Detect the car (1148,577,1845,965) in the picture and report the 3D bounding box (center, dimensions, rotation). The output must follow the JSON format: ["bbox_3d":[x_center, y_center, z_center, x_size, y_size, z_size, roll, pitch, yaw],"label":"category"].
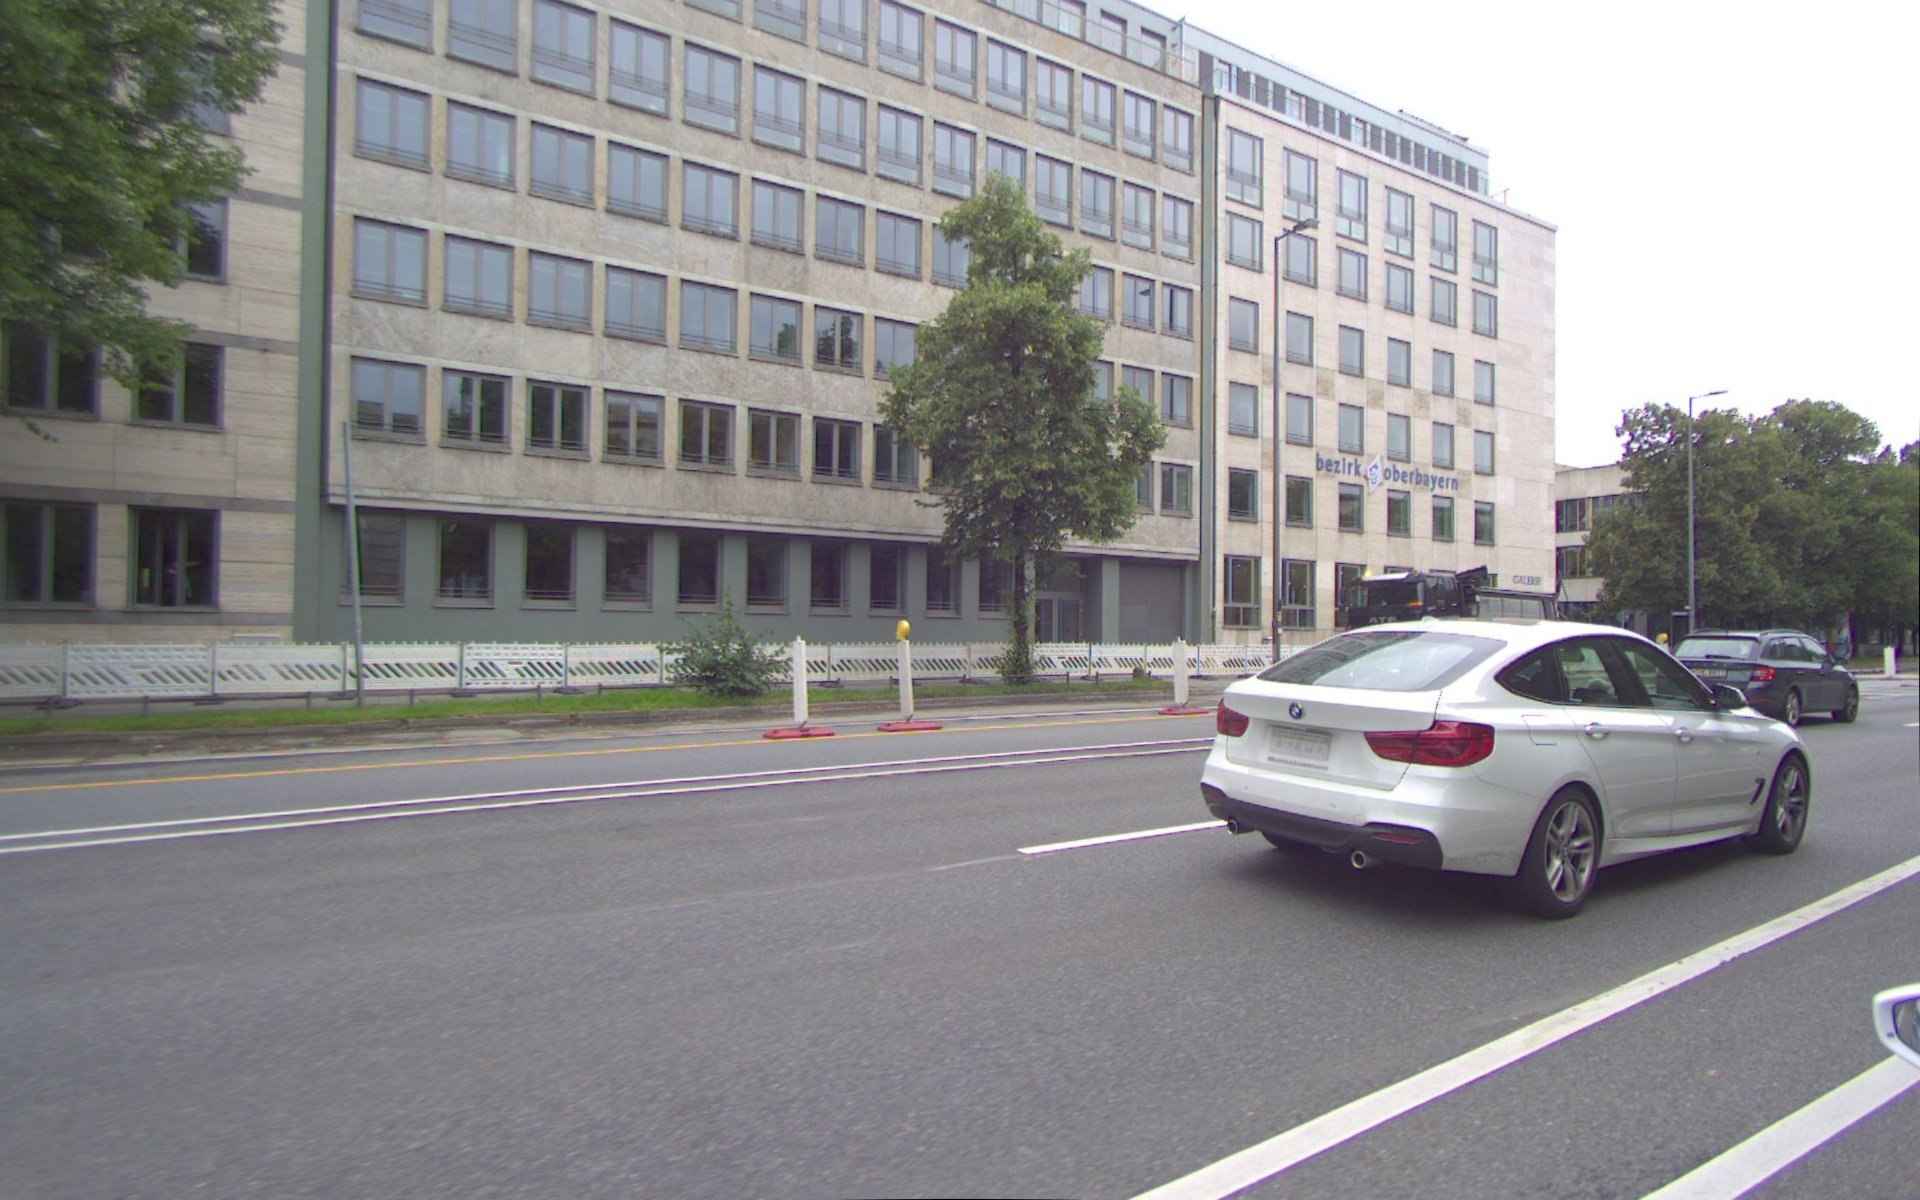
[{"bbox_3d":[3.647,0.830,6.432,4.973,1.658,1.782,2,-2,-33],"label":"car"}]

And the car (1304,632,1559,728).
[{"bbox_3d":[8.533,1.347,17.974,5.164,1.484,1.864,2,-2,-35],"label":"car"}]

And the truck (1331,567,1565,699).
[{"bbox_3d":[14.602,0.942,29.643,8.690,3.401,2.818,2,-1,-39],"label":"truck"}]

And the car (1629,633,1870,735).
[{"bbox_3d":[12.907,1.301,16.367,4.228,1.466,1.783,2,-2,-32],"label":"car"}]

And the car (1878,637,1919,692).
[{"bbox_3d":[30.009,1.962,30.723,3.959,1.617,1.982,2,-3,-34],"label":"car"}]
